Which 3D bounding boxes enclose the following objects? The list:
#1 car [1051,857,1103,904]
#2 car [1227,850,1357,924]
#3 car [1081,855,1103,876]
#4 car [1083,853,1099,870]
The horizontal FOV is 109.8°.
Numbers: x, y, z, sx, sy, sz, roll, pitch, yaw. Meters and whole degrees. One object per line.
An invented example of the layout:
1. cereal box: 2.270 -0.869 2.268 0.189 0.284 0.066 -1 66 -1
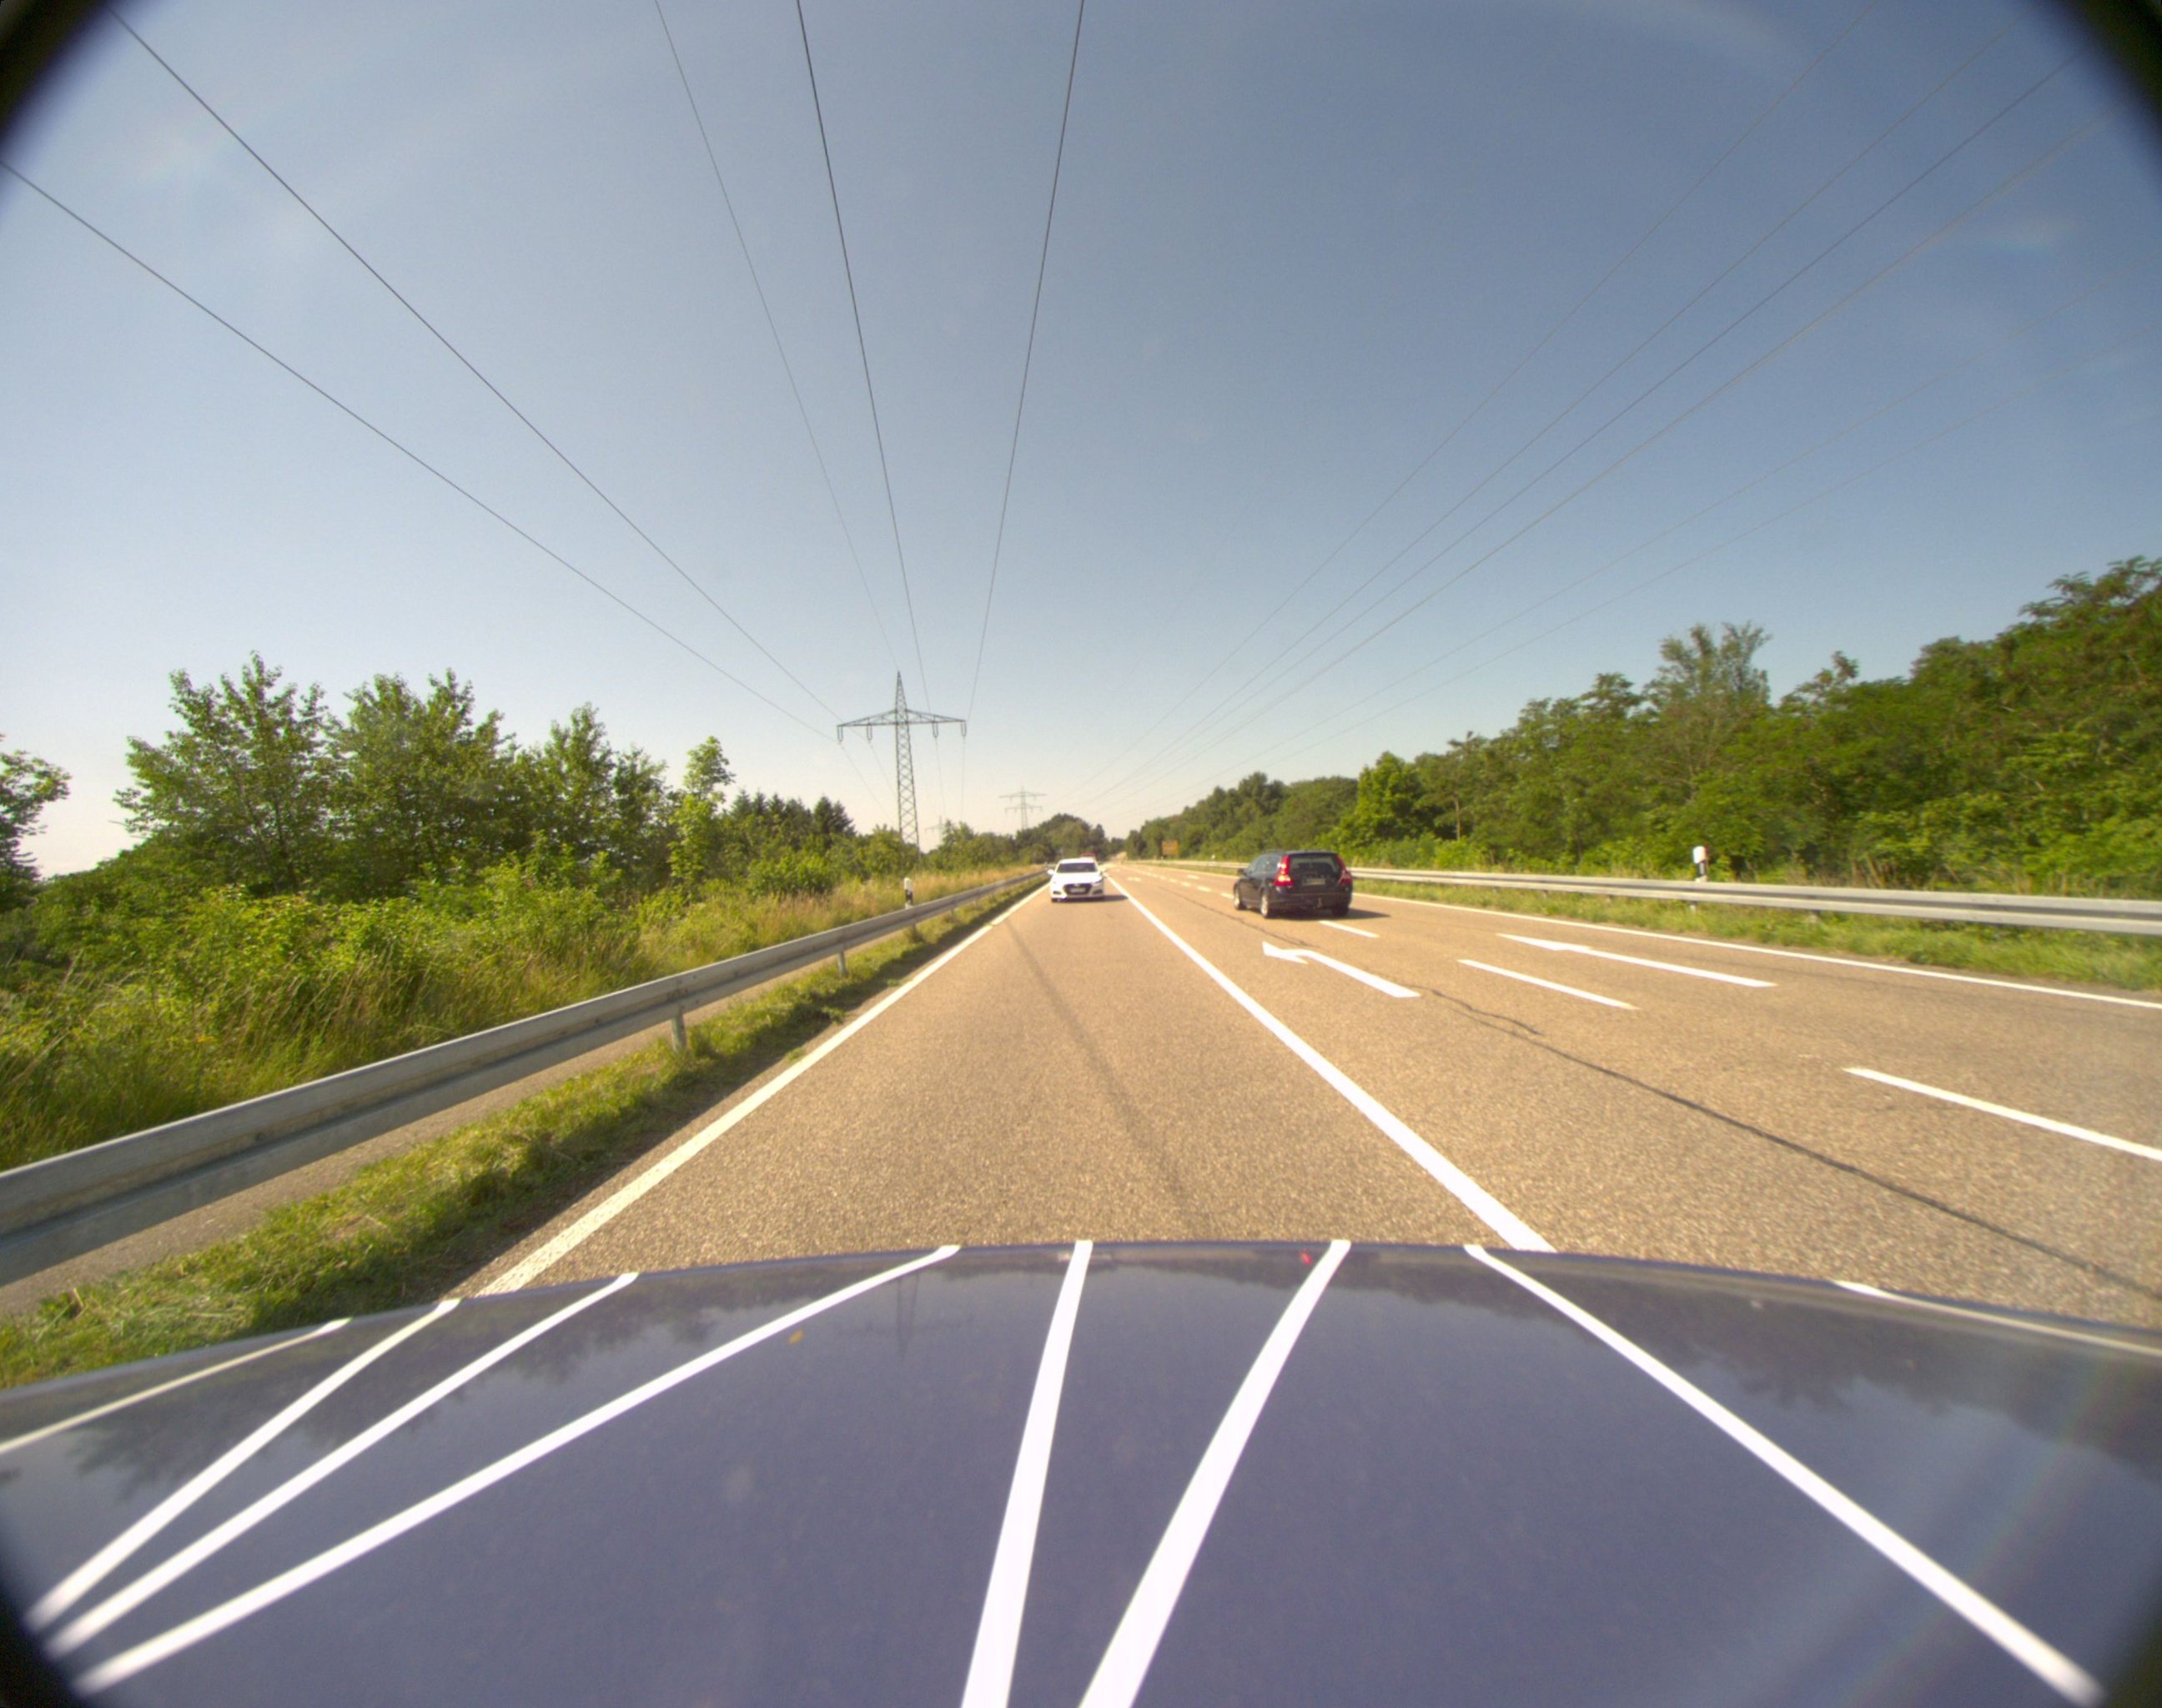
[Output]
1. car: -0.133 0.886 27.456 1.683 1.472 4.473 -1 0 0
2. car: 4.841 0.679 18.090 1.732 1.482 4.422 -2 0 -1
3. car: 0.793 0.865 57.075 1.549 1.460 3.661 -2 0 -1
4. car: 1.168 0.865 92.973 1.795 1.892 4.837 -2 0 -1
